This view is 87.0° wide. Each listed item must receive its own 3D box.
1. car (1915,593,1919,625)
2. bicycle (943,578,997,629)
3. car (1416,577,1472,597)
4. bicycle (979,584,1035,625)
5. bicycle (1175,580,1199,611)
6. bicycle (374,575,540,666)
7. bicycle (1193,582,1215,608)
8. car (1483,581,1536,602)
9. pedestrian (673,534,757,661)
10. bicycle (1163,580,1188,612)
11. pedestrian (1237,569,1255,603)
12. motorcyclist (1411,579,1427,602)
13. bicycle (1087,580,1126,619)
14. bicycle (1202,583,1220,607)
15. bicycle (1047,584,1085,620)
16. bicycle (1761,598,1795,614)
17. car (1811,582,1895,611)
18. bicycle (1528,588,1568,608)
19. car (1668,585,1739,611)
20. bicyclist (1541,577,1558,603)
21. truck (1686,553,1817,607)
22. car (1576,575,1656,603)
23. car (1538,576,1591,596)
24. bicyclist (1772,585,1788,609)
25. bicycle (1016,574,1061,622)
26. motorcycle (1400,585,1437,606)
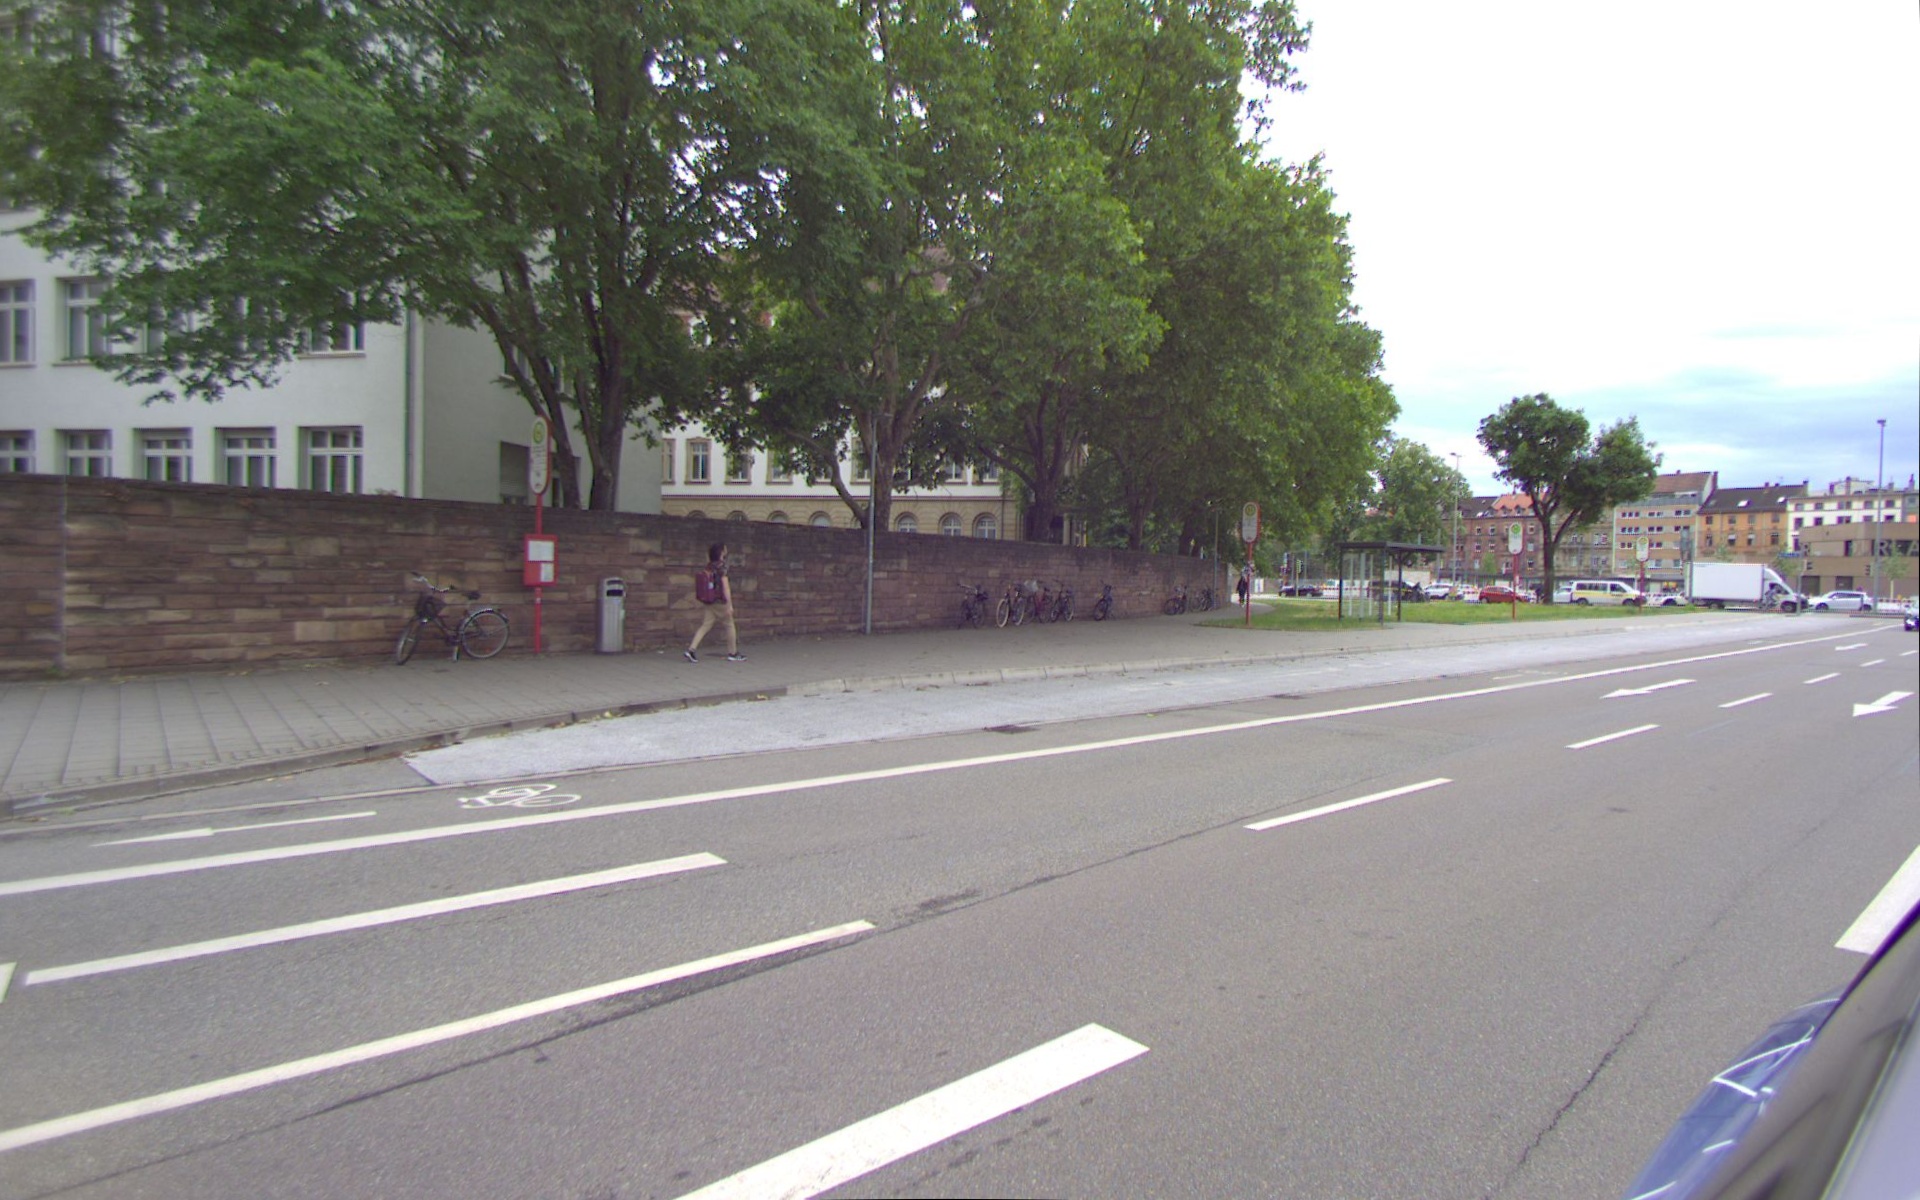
[{"bbox_3d":[40.320,0.345,41.142,3.764,1.278,1.783,0,1,-41],"label":"car"},{"bbox_3d":[0.249,0.056,24.108,0.712,1.113,1.781,3,2,20],"label":"bicycle"},{"bbox_3d":[42.257,-1.130,88.400,4.014,1.493,1.795,4,3,39],"label":"car"},{"bbox_3d":[1.207,0.094,25.745,0.650,0.963,1.751,3,2,31],"label":"bicycle"},{"bbox_3d":[8.917,-0.191,39.680,0.589,1.143,1.700,3,2,23],"label":"bicycle"},{"bbox_3d":[-6.986,0.240,14.147,0.845,1.141,1.900,4,3,34],"label":"bicycle"},{"bbox_3d":[10.328,-0.224,42.772,0.589,1.072,1.700,3,2,23],"label":"bicycle"},{"bbox_3d":[43.566,-0.696,80.233,3.422,1.399,1.266,2,-6,44],"label":"car"},{"bbox_3d":[-3.701,-0.043,15.302,1.014,1.844,0.632,1,2,-41],"label":"pedestrian"},{"bbox_3d":[8.132,-0.151,38.147,0.589,1.150,1.700,3,2,23],"label":"bicycle"},{"bbox_3d":[15.240,-0.741,53.885,0.745,1.756,0.821,3,2,10],"label":"pedestrian"},{"bbox_3d":[37.490,-0.800,82.687,0.913,1.851,0.917,4,2,37],"label":"motorcyclist"},{"bbox_3d":[4.435,-0.043,30.592,0.593,1.118,1.638,3,2,29],"label":"bicycle"},{"bbox_3d":[11.015,-0.218,44.342,0.544,1.004,1.626,3,2,20],"label":"bicycle"},{"bbox_3d":[3.027,0.045,28.791,0.414,0.954,1.508,3,2,31],"label":"bicycle"},{"bbox_3d":[53.318,0.358,65.970,1.687,0.926,0.757,4,3,39],"label":"bicycle"},{"bbox_3d":[61.800,-0.286,70.111,3.873,1.785,1.823,3,2,27],"label":"car"},{"bbox_3d":[43.992,-0.175,75.748,2.384,1.340,0.753,4,3,44],"label":"bicycle"},{"bbox_3d":[55.249,-0.158,75.228,3.988,1.704,1.740,4,3,43],"label":"car"},{"bbox_3d":[44.066,-0.738,75.687,0.893,1.883,0.753,4,3,43],"label":"bicyclist"},{"bbox_3d":[53.782,-1.402,68.902,6.835,3.453,2.520,1,3,45],"label":"truck"},{"bbox_3d":[48.397,-0.850,74.746,1.890,1.942,4.704,-4,4,-44],"label":"car"},{"bbox_3d":[48.558,-1.127,81.293,3.418,1.407,1.497,4,3,41],"label":"car"},{"bbox_3d":[53.385,-0.198,65.919,0.737,1.526,0.757,4,2,39],"label":"bicyclist"},{"bbox_3d":[2.129,-0.074,27.298,0.497,1.236,1.609,3,2,31],"label":"bicycle"},{"bbox_3d":[37.475,-0.369,82.718,2.501,1.621,0.917,4,3,37],"label":"motorcycle"}]
